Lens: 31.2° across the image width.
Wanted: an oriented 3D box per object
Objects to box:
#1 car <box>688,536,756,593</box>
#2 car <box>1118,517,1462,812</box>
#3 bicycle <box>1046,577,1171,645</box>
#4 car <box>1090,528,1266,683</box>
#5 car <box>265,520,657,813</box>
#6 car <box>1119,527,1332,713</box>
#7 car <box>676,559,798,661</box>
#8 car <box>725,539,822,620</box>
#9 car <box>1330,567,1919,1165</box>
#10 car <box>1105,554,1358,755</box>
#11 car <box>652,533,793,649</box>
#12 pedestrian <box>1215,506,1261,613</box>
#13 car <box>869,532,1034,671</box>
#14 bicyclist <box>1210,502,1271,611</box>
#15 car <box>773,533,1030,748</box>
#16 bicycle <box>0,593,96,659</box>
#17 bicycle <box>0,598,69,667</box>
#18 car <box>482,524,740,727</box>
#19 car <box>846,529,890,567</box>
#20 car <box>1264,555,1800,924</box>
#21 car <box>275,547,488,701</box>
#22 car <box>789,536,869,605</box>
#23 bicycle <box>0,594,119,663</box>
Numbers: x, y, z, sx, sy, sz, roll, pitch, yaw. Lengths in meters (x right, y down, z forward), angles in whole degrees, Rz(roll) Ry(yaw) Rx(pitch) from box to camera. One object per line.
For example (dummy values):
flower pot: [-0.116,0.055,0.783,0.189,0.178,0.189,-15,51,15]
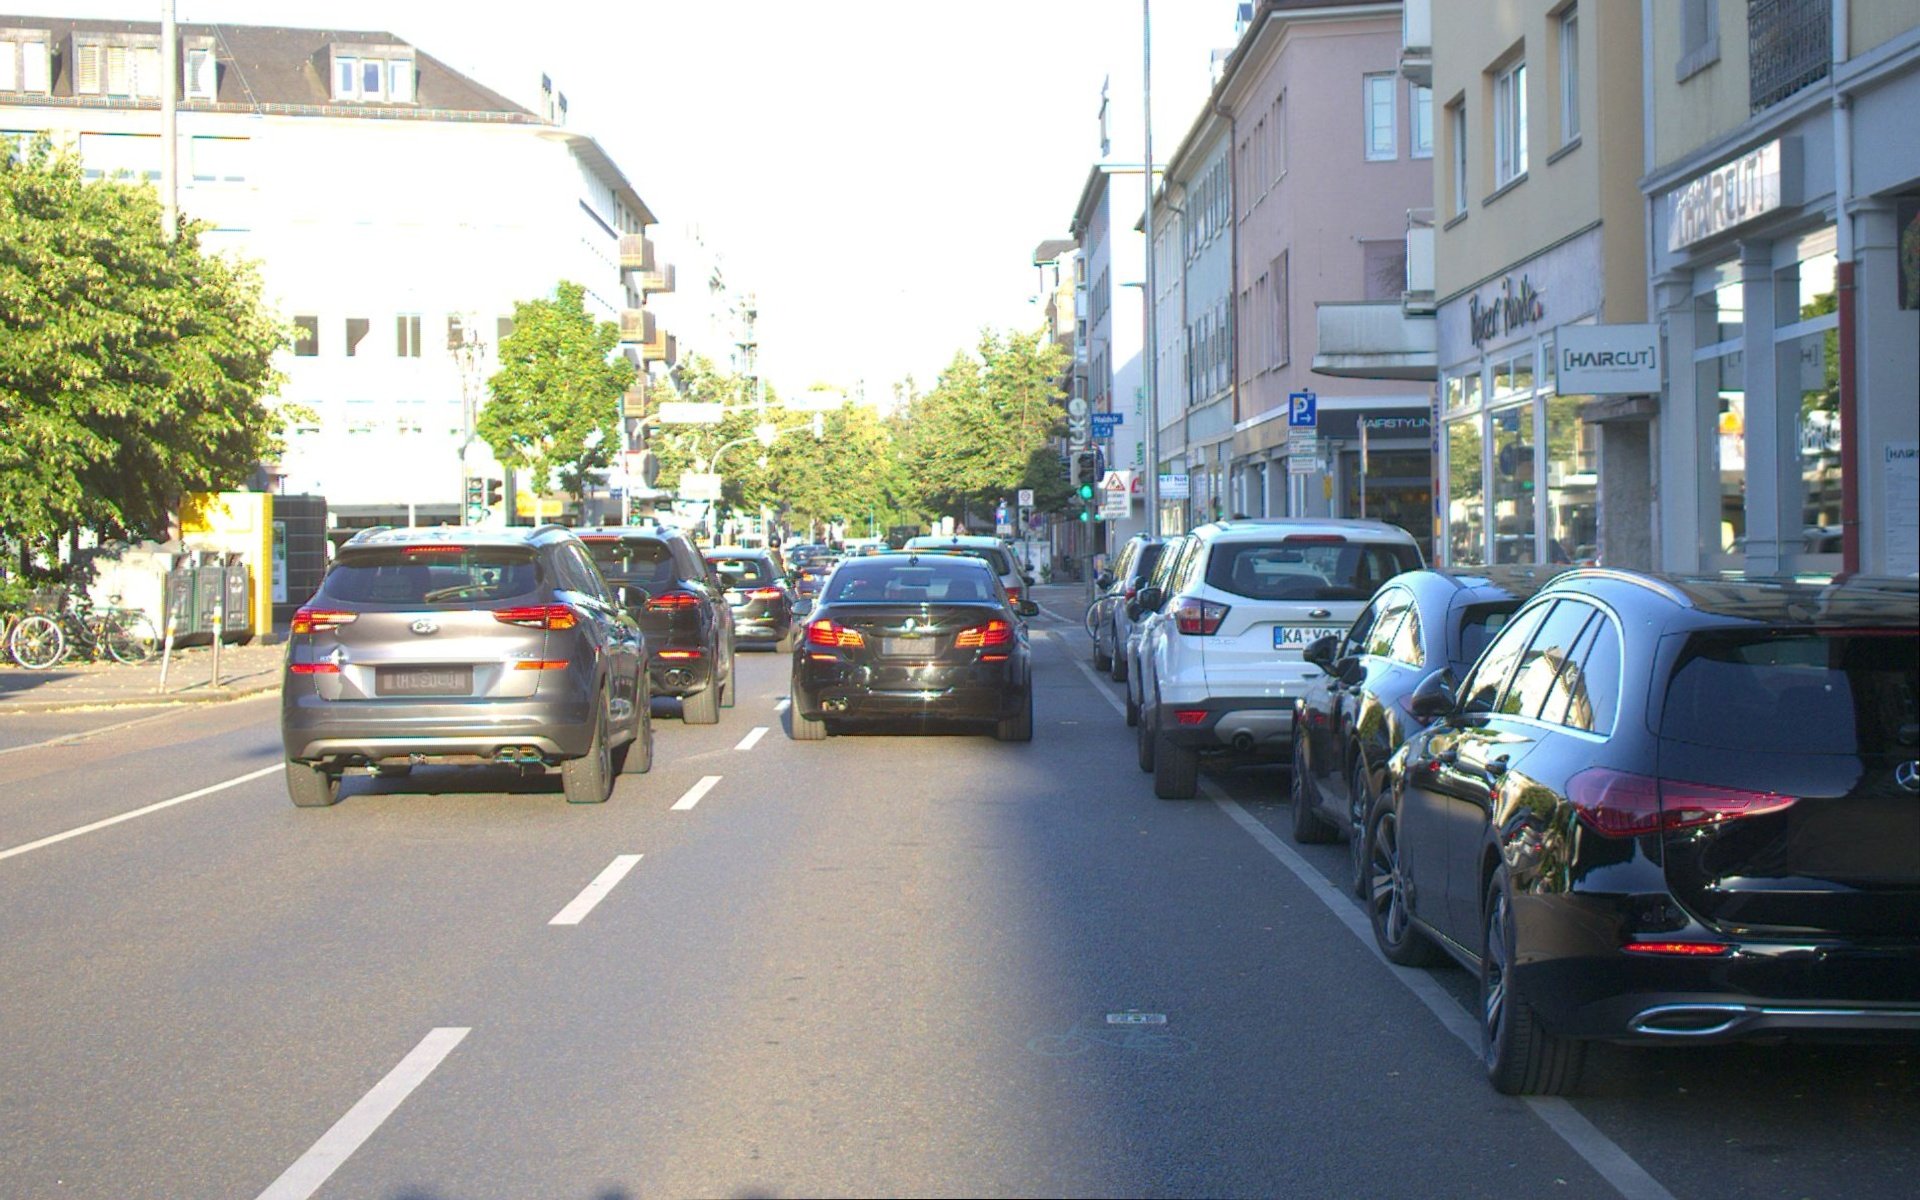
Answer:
car: [-6.931,-1.052,100.369,1.691,1.547,3.951,-3,1,-1]
car: [1.981,0.349,21.761,1.730,1.645,4.284,1,0,0]
bicycle: [2.131,0.154,49.206,1.766,0.963,0.490,0,1,5]
car: [2.437,0.043,39.247,1.730,1.646,3.970,1,0,0]
car: [-2.992,0.340,21.431,1.896,1.644,4.104,0,1,-1]
car: [2.494,0.169,33.026,1.730,1.646,3.829,1,0,0]
car: [-3.547,0.128,55.186,1.779,1.542,4.000,0,1,-1]
car: [-3.666,-0.423,68.171,1.779,1.542,4.000,0,1,-1]
car: [2.273,0.640,10.677,1.730,1.443,4.524,1,0,0]
car: [2.093,0.383,27.522,1.730,1.445,4.312,1,0,1]
car: [-3.300,-0.160,48.296,1.779,1.542,4.000,0,1,-1]
pedestrian: [4.697,-0.690,58.111,0.699,1.805,0.635,0,1,-4]
car: [-0.125,-0.014,41.943,1.896,1.575,4.000,1,1,-1]
bicyclist: [4.571,-0.712,56.039,0.832,1.771,0.608,1,1,27]
car: [-0.466,0.269,27.681,1.896,1.575,4.000,1,1,-1]
bicycle: [-12.844,0.346,47.177,1.825,0.850,0.484,2,1,-4]
bicycle: [-12.505,0.405,44.463,1.825,0.850,0.484,2,1,-4]
car: [-2.977,0.173,30.061,1.896,1.644,4.104,0,1,-1]
car: [-3.860,-2.199,144.571,1.779,1.542,4.000,0,1,-1]
car: [2.491,0.539,16.031,1.730,1.443,4.474,1,0,0]
car: [-6.440,0.228,38.643,1.691,1.547,3.951,-3,1,-1]
car: [-3.032,-0.711,80.085,1.779,1.542,4.000,0,1,-1]
bicycle: [-12.295,0.380,46.265,1.825,0.850,0.484,2,1,-4]
